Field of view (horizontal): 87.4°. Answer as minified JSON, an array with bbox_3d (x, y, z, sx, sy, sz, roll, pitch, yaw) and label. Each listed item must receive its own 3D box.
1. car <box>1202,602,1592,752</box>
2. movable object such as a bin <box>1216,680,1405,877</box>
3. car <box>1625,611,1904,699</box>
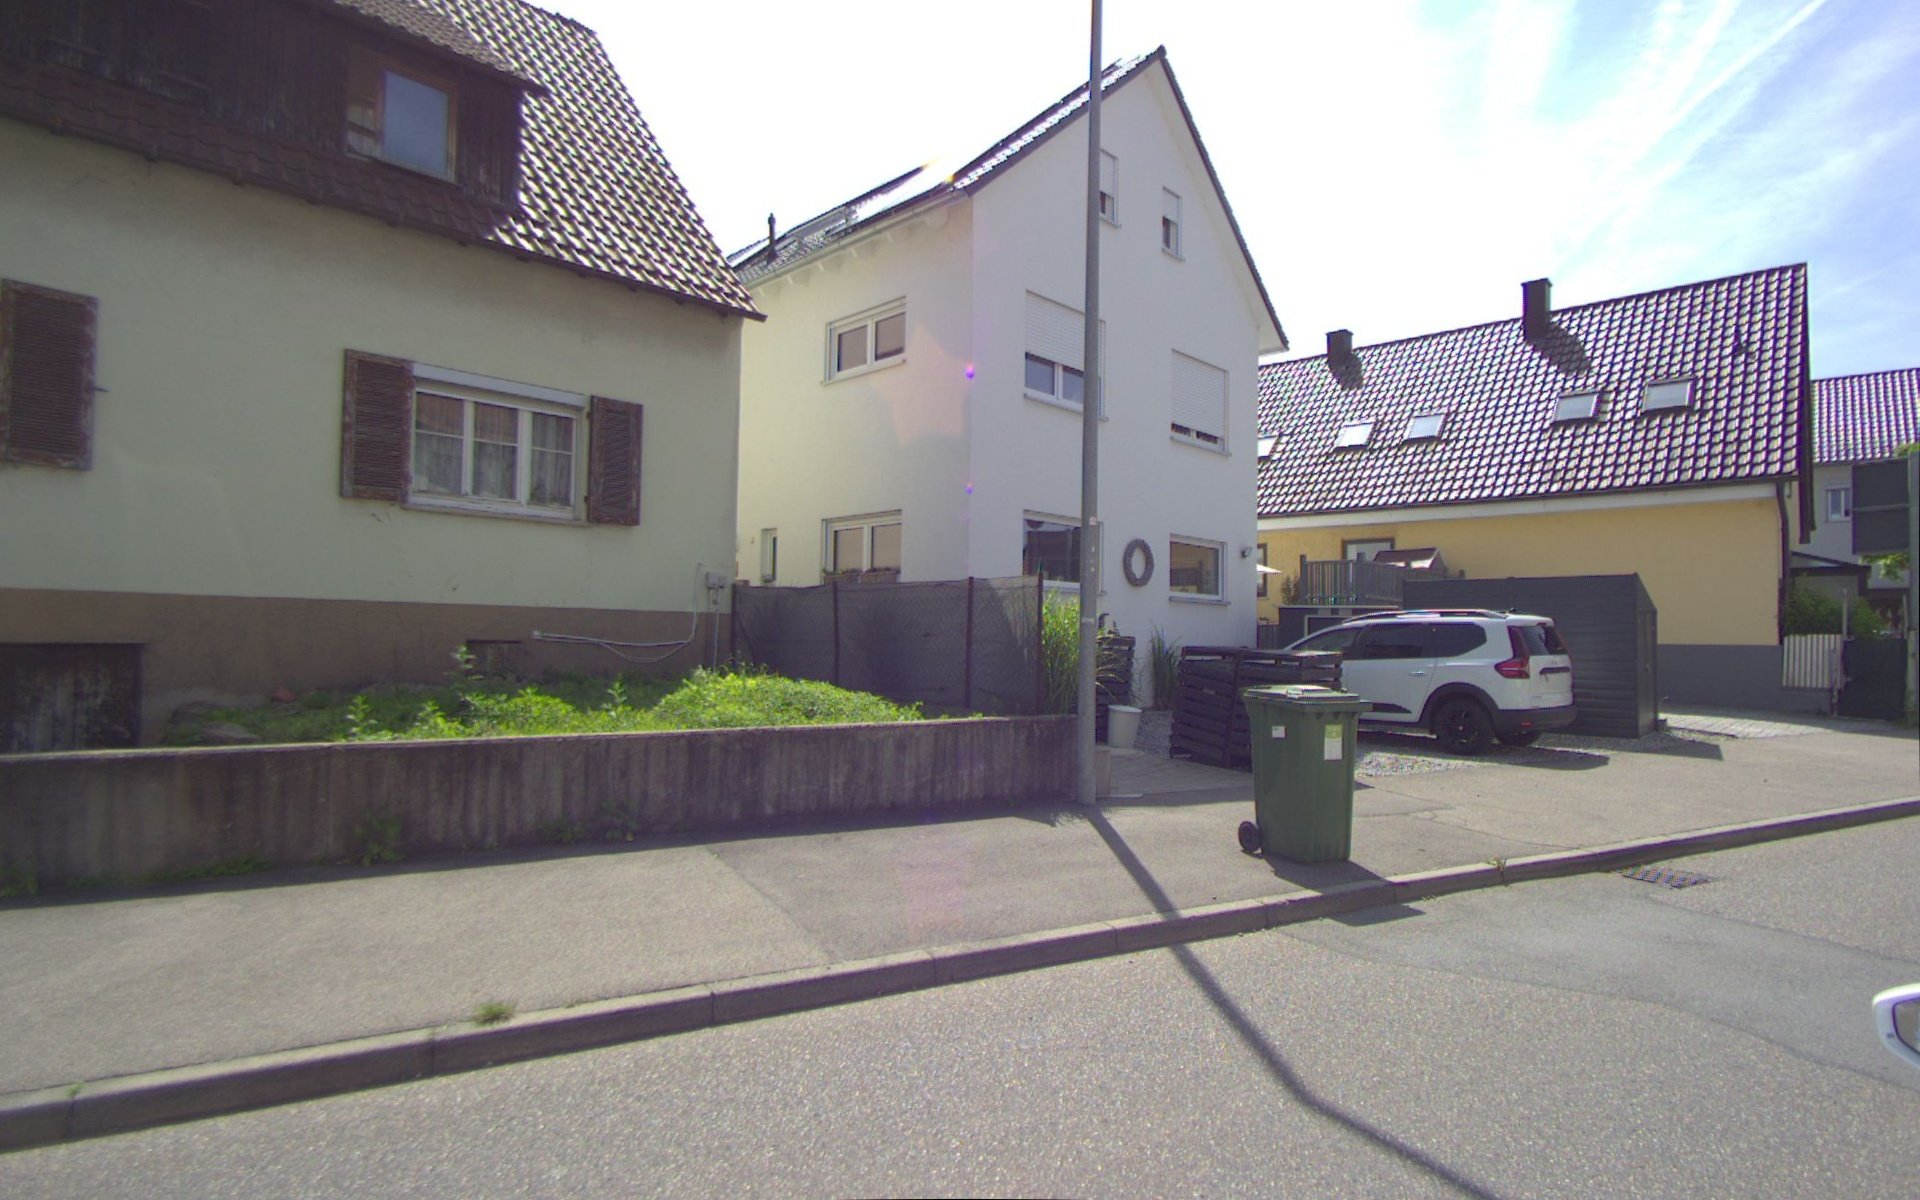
[{"bbox_3d":[5.610,0.890,13.373,1.983,1.644,4.367,2,-2,-39],"label":"car"},{"bbox_3d":[2.245,1.097,6.481,0.807,1.091,0.823,1,0,-26],"label":"movable object such as a bin"},{"bbox_3d":[19.528,1.253,24.592,2.158,1.921,5.061,1,-1,-41],"label":"car"}]
